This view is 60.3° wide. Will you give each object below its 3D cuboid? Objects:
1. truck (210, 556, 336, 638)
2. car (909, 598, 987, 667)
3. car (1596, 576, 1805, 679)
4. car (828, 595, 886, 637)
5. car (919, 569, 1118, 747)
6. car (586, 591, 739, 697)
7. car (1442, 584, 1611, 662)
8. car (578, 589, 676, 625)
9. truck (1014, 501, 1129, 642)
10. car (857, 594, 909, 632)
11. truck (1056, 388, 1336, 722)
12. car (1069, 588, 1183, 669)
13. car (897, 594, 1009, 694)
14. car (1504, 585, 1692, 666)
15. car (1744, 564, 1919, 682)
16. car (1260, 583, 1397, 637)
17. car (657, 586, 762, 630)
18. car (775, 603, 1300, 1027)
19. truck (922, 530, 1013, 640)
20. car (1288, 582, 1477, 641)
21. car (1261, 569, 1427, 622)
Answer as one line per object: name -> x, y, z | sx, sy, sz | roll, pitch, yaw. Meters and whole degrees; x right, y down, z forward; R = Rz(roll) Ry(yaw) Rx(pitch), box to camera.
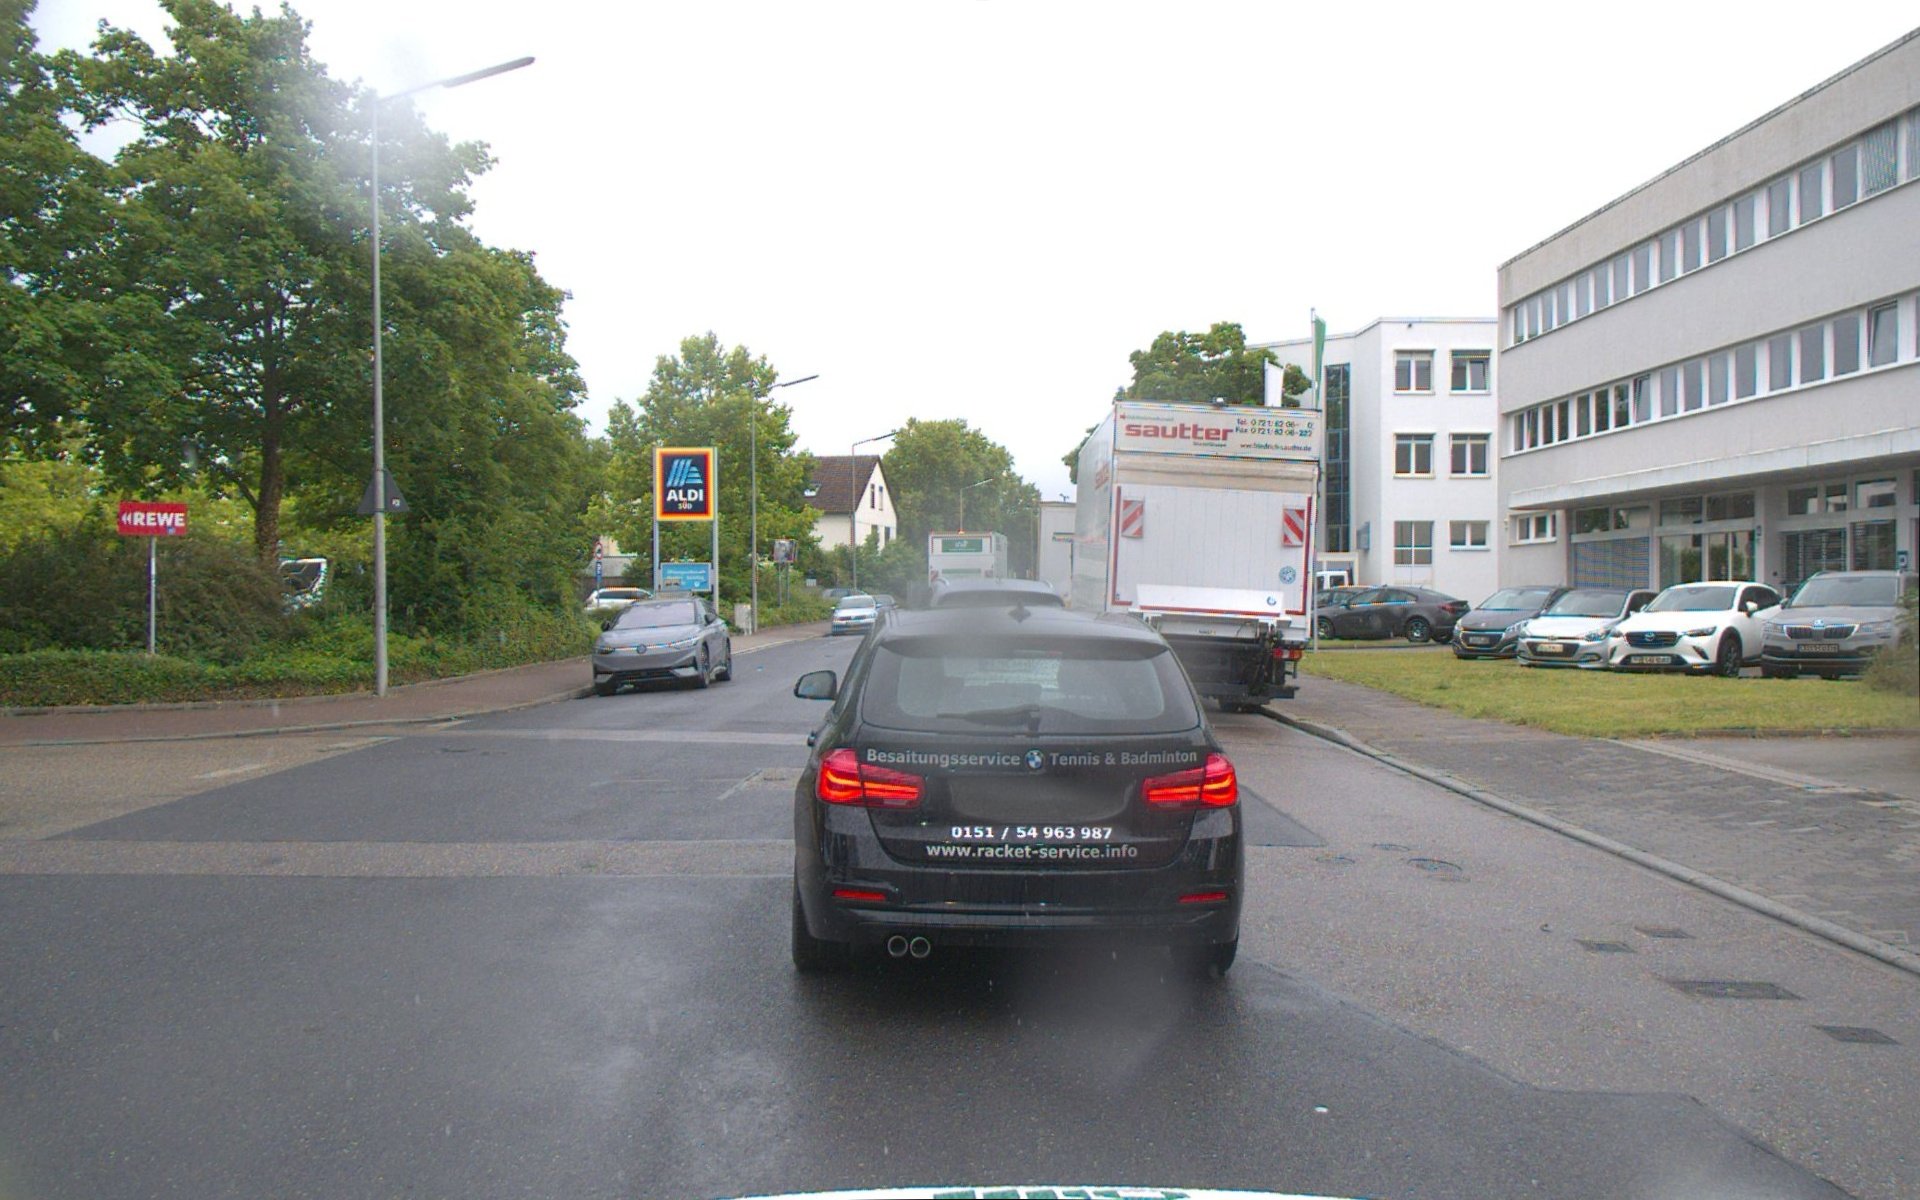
truck -> -24.743, -0.118, 59.878 | 1.953, 2.801, 6.466 | 0, 0, -1
car -> -0.342, 0.748, 39.820 | 1.768, 1.579, 3.998 | 1, 0, -2
car -> 11.730, 0.373, 26.081 | 1.746, 1.496, 3.971 | 0, 0, 45
car -> -3.820, 0.565, 61.814 | 1.670, 1.391, 4.602 | -3, 0, 2
car -> 0.488, 0.534, 17.073 | 1.768, 1.614, 3.998 | 1, 0, -2
car -> -5.055, 0.696, 28.751 | 1.772, 1.555, 4.747 | -4, 0, -1
car -> 11.123, 0.417, 32.351 | 1.678, 1.417, 3.741 | 0, 0, 45
car -> -14.762, 0.291, 73.445 | 3.905, 1.567, 1.911 | 0, 0, 1
truck -> 3.105, -0.777, 48.029 | 2.685, 3.674, 7.749 | 2, 0, 0
car -> -3.140, 0.514, 67.901 | 1.670, 1.391, 3.840 | -3, 0, 3
truck -> 3.078, -0.561, 24.297 | 2.685, 3.855, 9.299 | 2, 0, 0
car -> 3.197, 0.514, 32.597 | 1.761, 1.466, 4.344 | -1, 0, -1
car -> -0.179, 0.700, 28.405 | 1.768, 1.579, 3.998 | 1, 0, -2
car -> 11.371, 0.407, 29.341 | 1.678, 1.309, 3.971 | 0, 1, 45
car -> 12.980, 0.283, 23.859 | 1.842, 1.554, 3.972 | 0, 0, 44
car -> 11.267, 0.279, 50.695 | 3.712, 1.420, 1.718 | 4, 3, 40
car -> -9.045, 0.292, 59.915 | 3.496, 1.485, 1.713 | 1, 0, 1
car -> 0.202, 0.732, 7.584 | 1.768, 1.419, 3.998 | 1, 0, -2
truck -> 0.352, -0.635, 55.173 | 2.292, 3.313, 7.756 | 3, 3, 4
car -> 11.228, 0.298, 44.108 | 4.586, 1.493, 1.783 | 0, 0, 38
car -> 15.625, -0.177, 67.451 | 6.327, 2.049, 1.998 | 1, -1, -5
